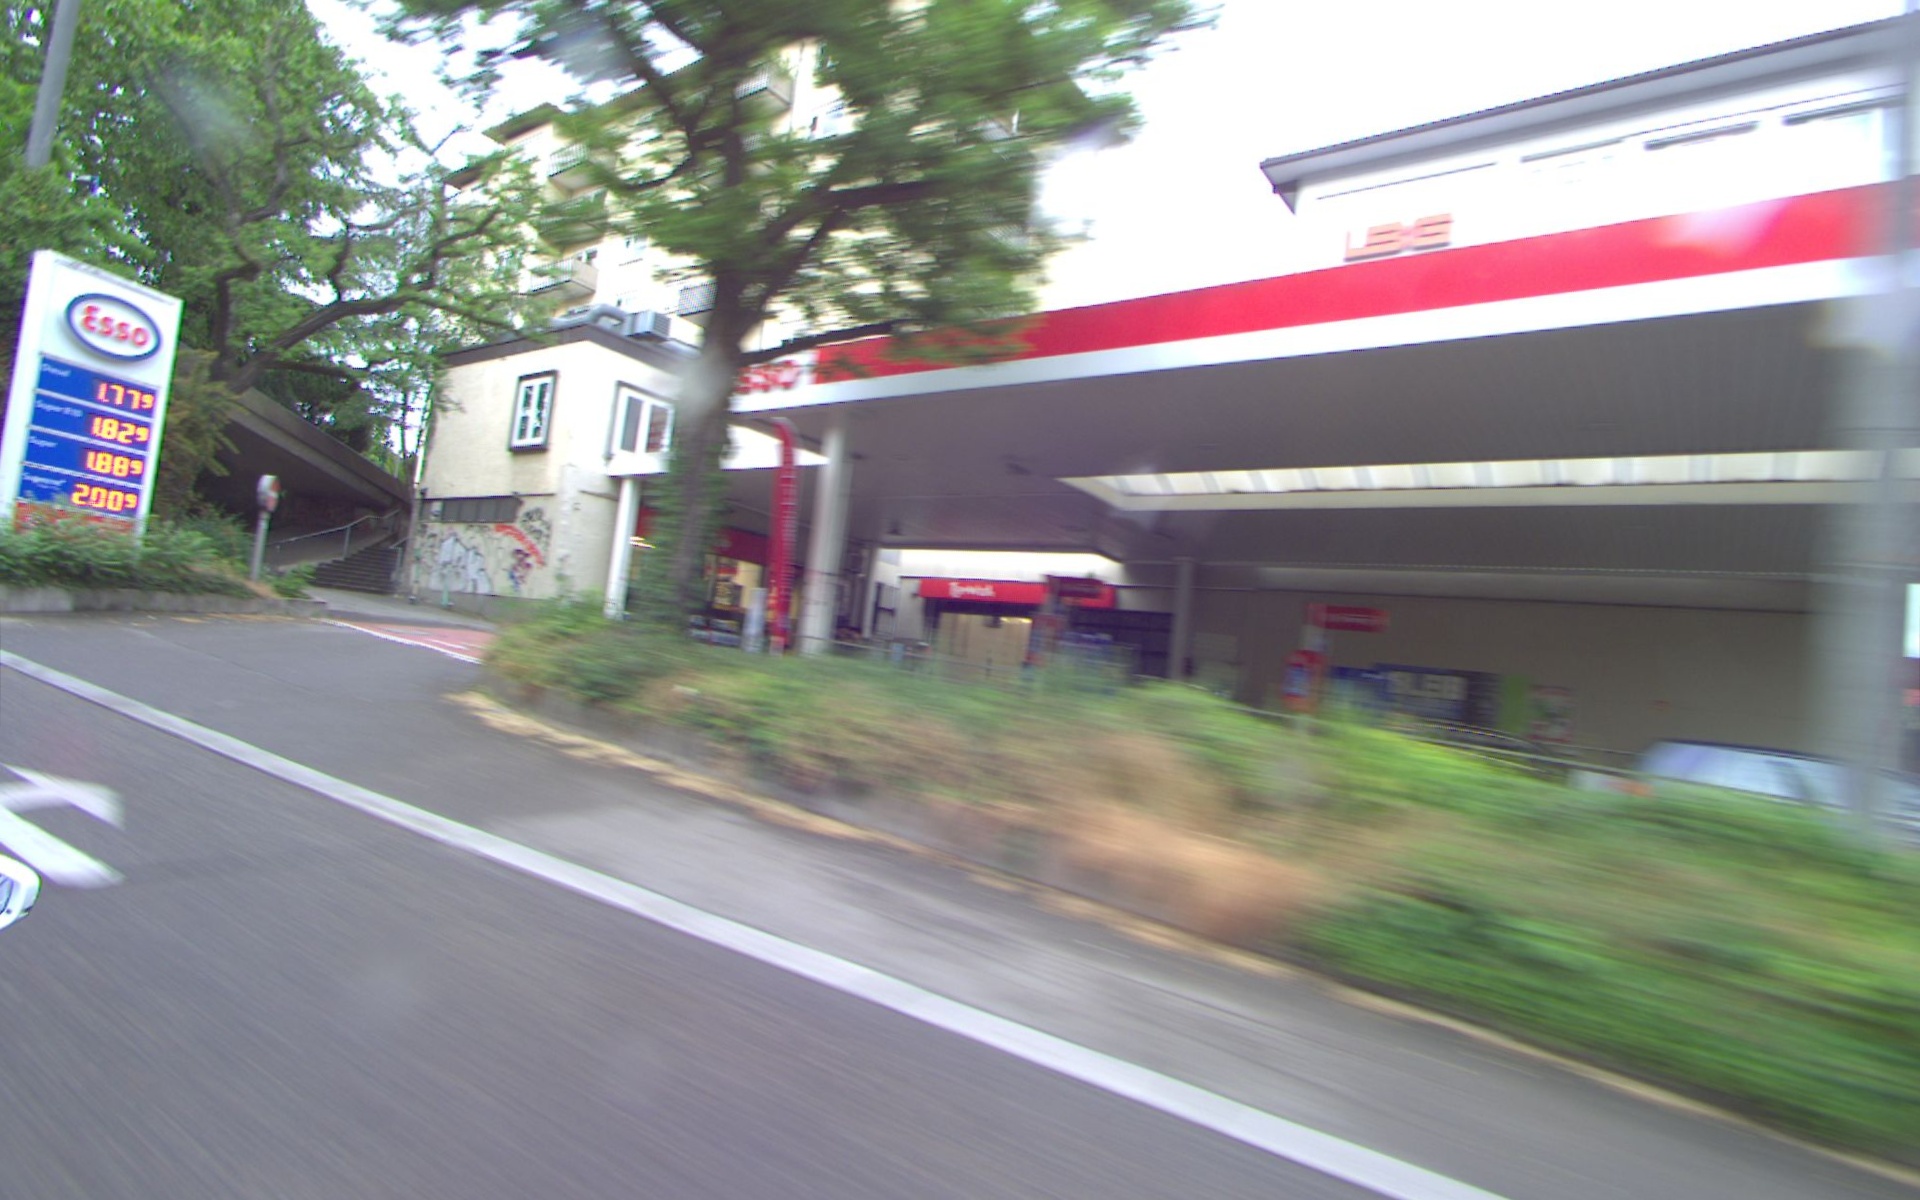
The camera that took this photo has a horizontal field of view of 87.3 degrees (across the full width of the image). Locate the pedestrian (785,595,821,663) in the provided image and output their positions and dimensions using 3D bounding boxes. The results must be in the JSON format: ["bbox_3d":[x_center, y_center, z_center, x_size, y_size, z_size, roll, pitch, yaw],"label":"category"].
[{"bbox_3d":[-4.688,0.865,30.026,0.660,1.888,0.689,9,-5,0],"label":"pedestrian"}]

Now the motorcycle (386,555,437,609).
[{"bbox_3d":[-14.447,-0.493,26.485,1.740,1.205,0.533,8,0,43],"label":"motorcycle"}]

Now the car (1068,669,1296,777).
[{"bbox_3d":[4.607,2.554,21.136,4.169,1.524,1.798,5,-7,38],"label":"car"}]

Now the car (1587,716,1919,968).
[{"bbox_3d":[7.878,2.132,8.723,3.812,1.642,1.772,6,-3,41],"label":"car"}]

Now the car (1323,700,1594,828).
[{"bbox_3d":[8.836,2.896,17.956,3.941,1.524,1.798,5,-7,38],"label":"car"}]

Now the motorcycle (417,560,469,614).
[{"bbox_3d":[-13.718,-0.355,26.680,1.740,1.205,0.533,8,0,43],"label":"motorcycle"}]

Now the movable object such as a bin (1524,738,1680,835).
[{"bbox_3d":[13.092,3.771,20.548,2.470,1.441,1.164,7,-3,38],"label":"movable object such as a bin"}]
